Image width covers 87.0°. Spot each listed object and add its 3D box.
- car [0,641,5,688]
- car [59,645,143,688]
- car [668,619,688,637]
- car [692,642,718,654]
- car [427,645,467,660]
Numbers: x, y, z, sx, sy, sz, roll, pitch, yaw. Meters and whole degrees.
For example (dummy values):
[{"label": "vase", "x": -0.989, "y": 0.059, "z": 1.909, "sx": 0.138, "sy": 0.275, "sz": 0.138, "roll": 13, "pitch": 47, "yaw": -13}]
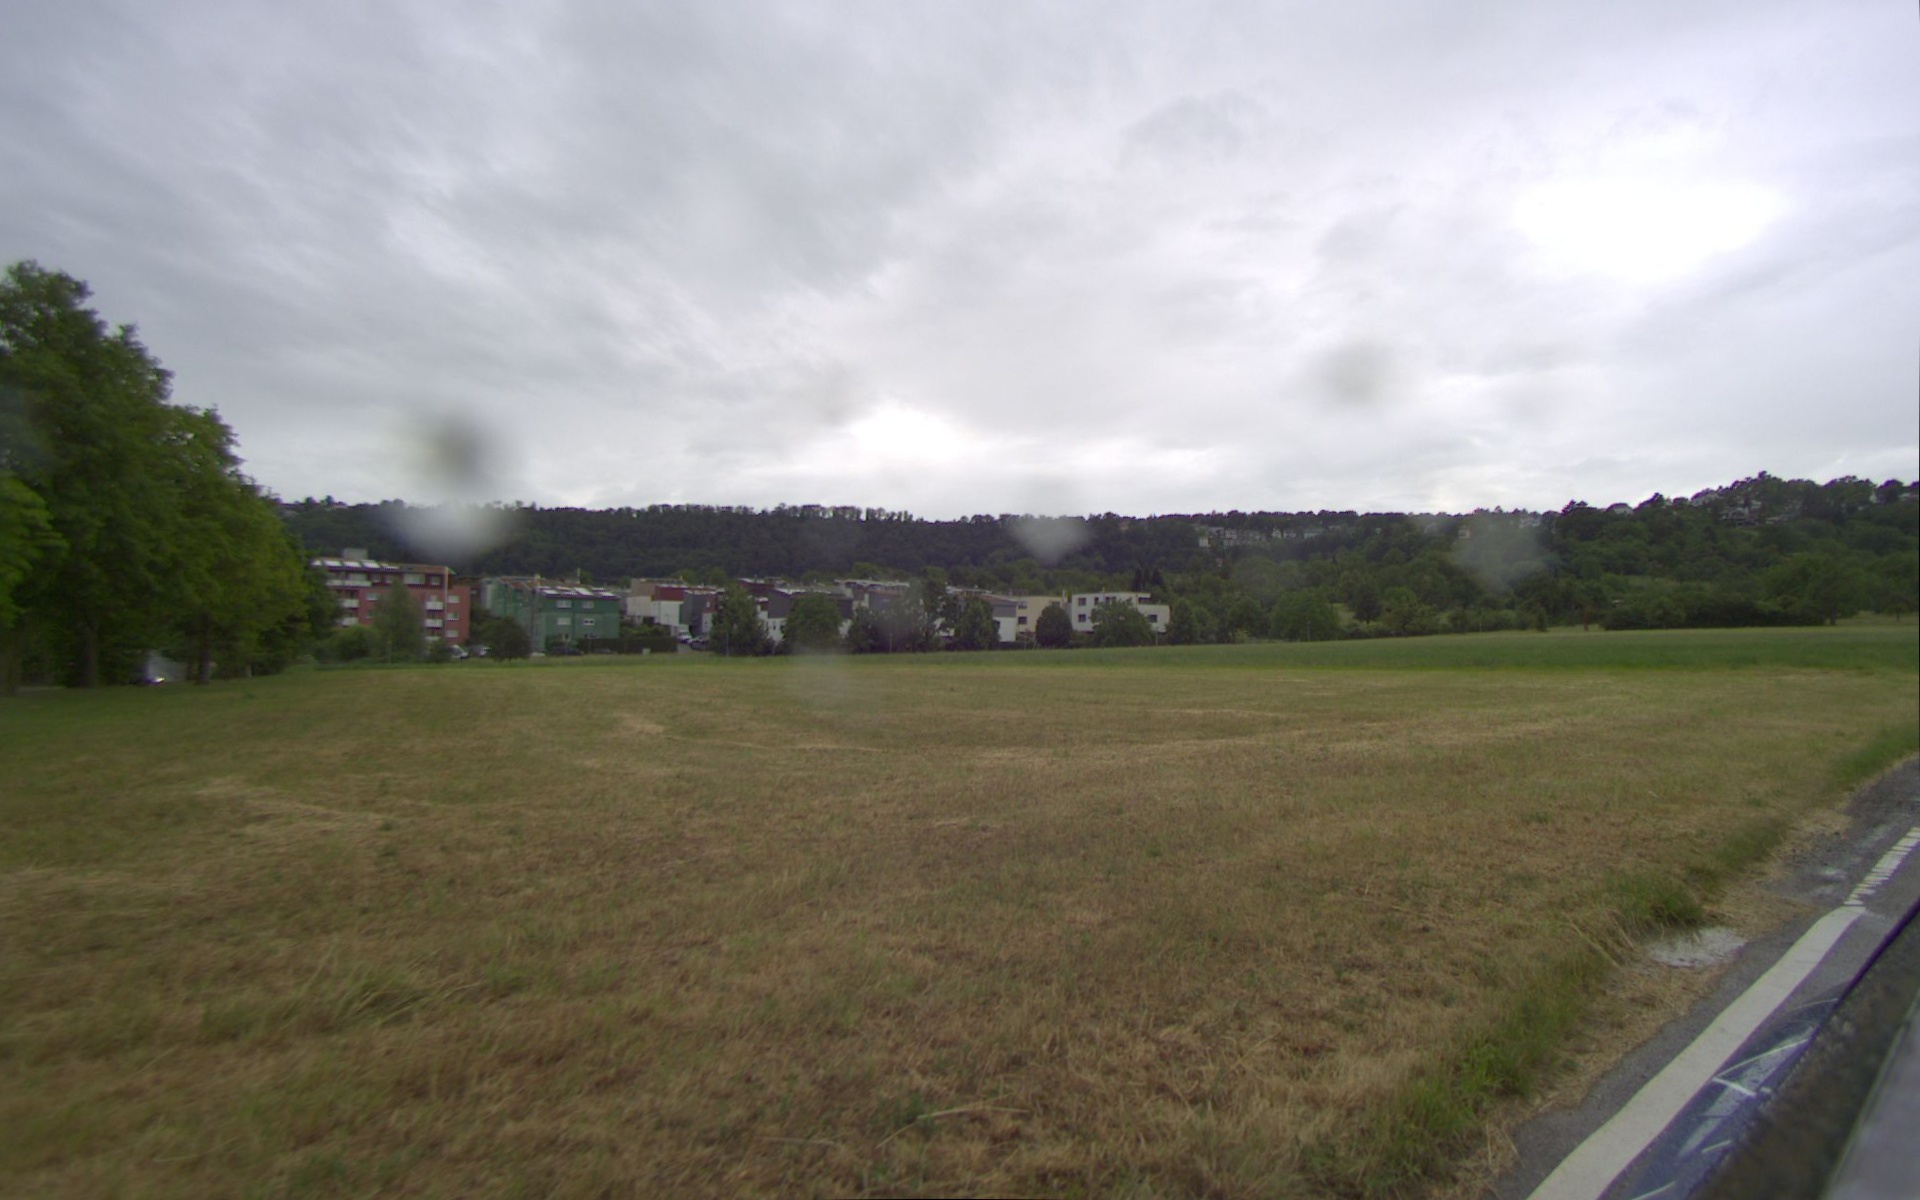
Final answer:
[{"label": "car", "x": -26.888, "y": 1.770, "z": 26.647, "sx": 1.699, "sy": 1.297, "sz": 3.332, "roll": 0, "pitch": -1, "yaw": -29}, {"label": "car", "x": -35.541, "y": 2.768, "z": 41.990, "sx": 1.923, "sy": 1.629, "sz": 4.001, "roll": 1, "pitch": -4, "yaw": -30}, {"label": "car", "x": -52.725, "y": 5.195, "z": 188.893, "sx": 2.099, "sy": 3.266, "sz": 5.090, "roll": 0, "pitch": -1, "yaw": -33}, {"label": "car", "x": -44.300, "y": 8.355, "z": 176.046, "sx": 3.924, "sy": 2.039, "sz": 1.999, "roll": 1, "pitch": -1, "yaw": -36}, {"label": "car", "x": -76.184, "y": 7.797, "z": 150.229, "sx": 5.177, "sy": 2.039, "sz": 2.001, "roll": -1, "pitch": -1, "yaw": -32}]
